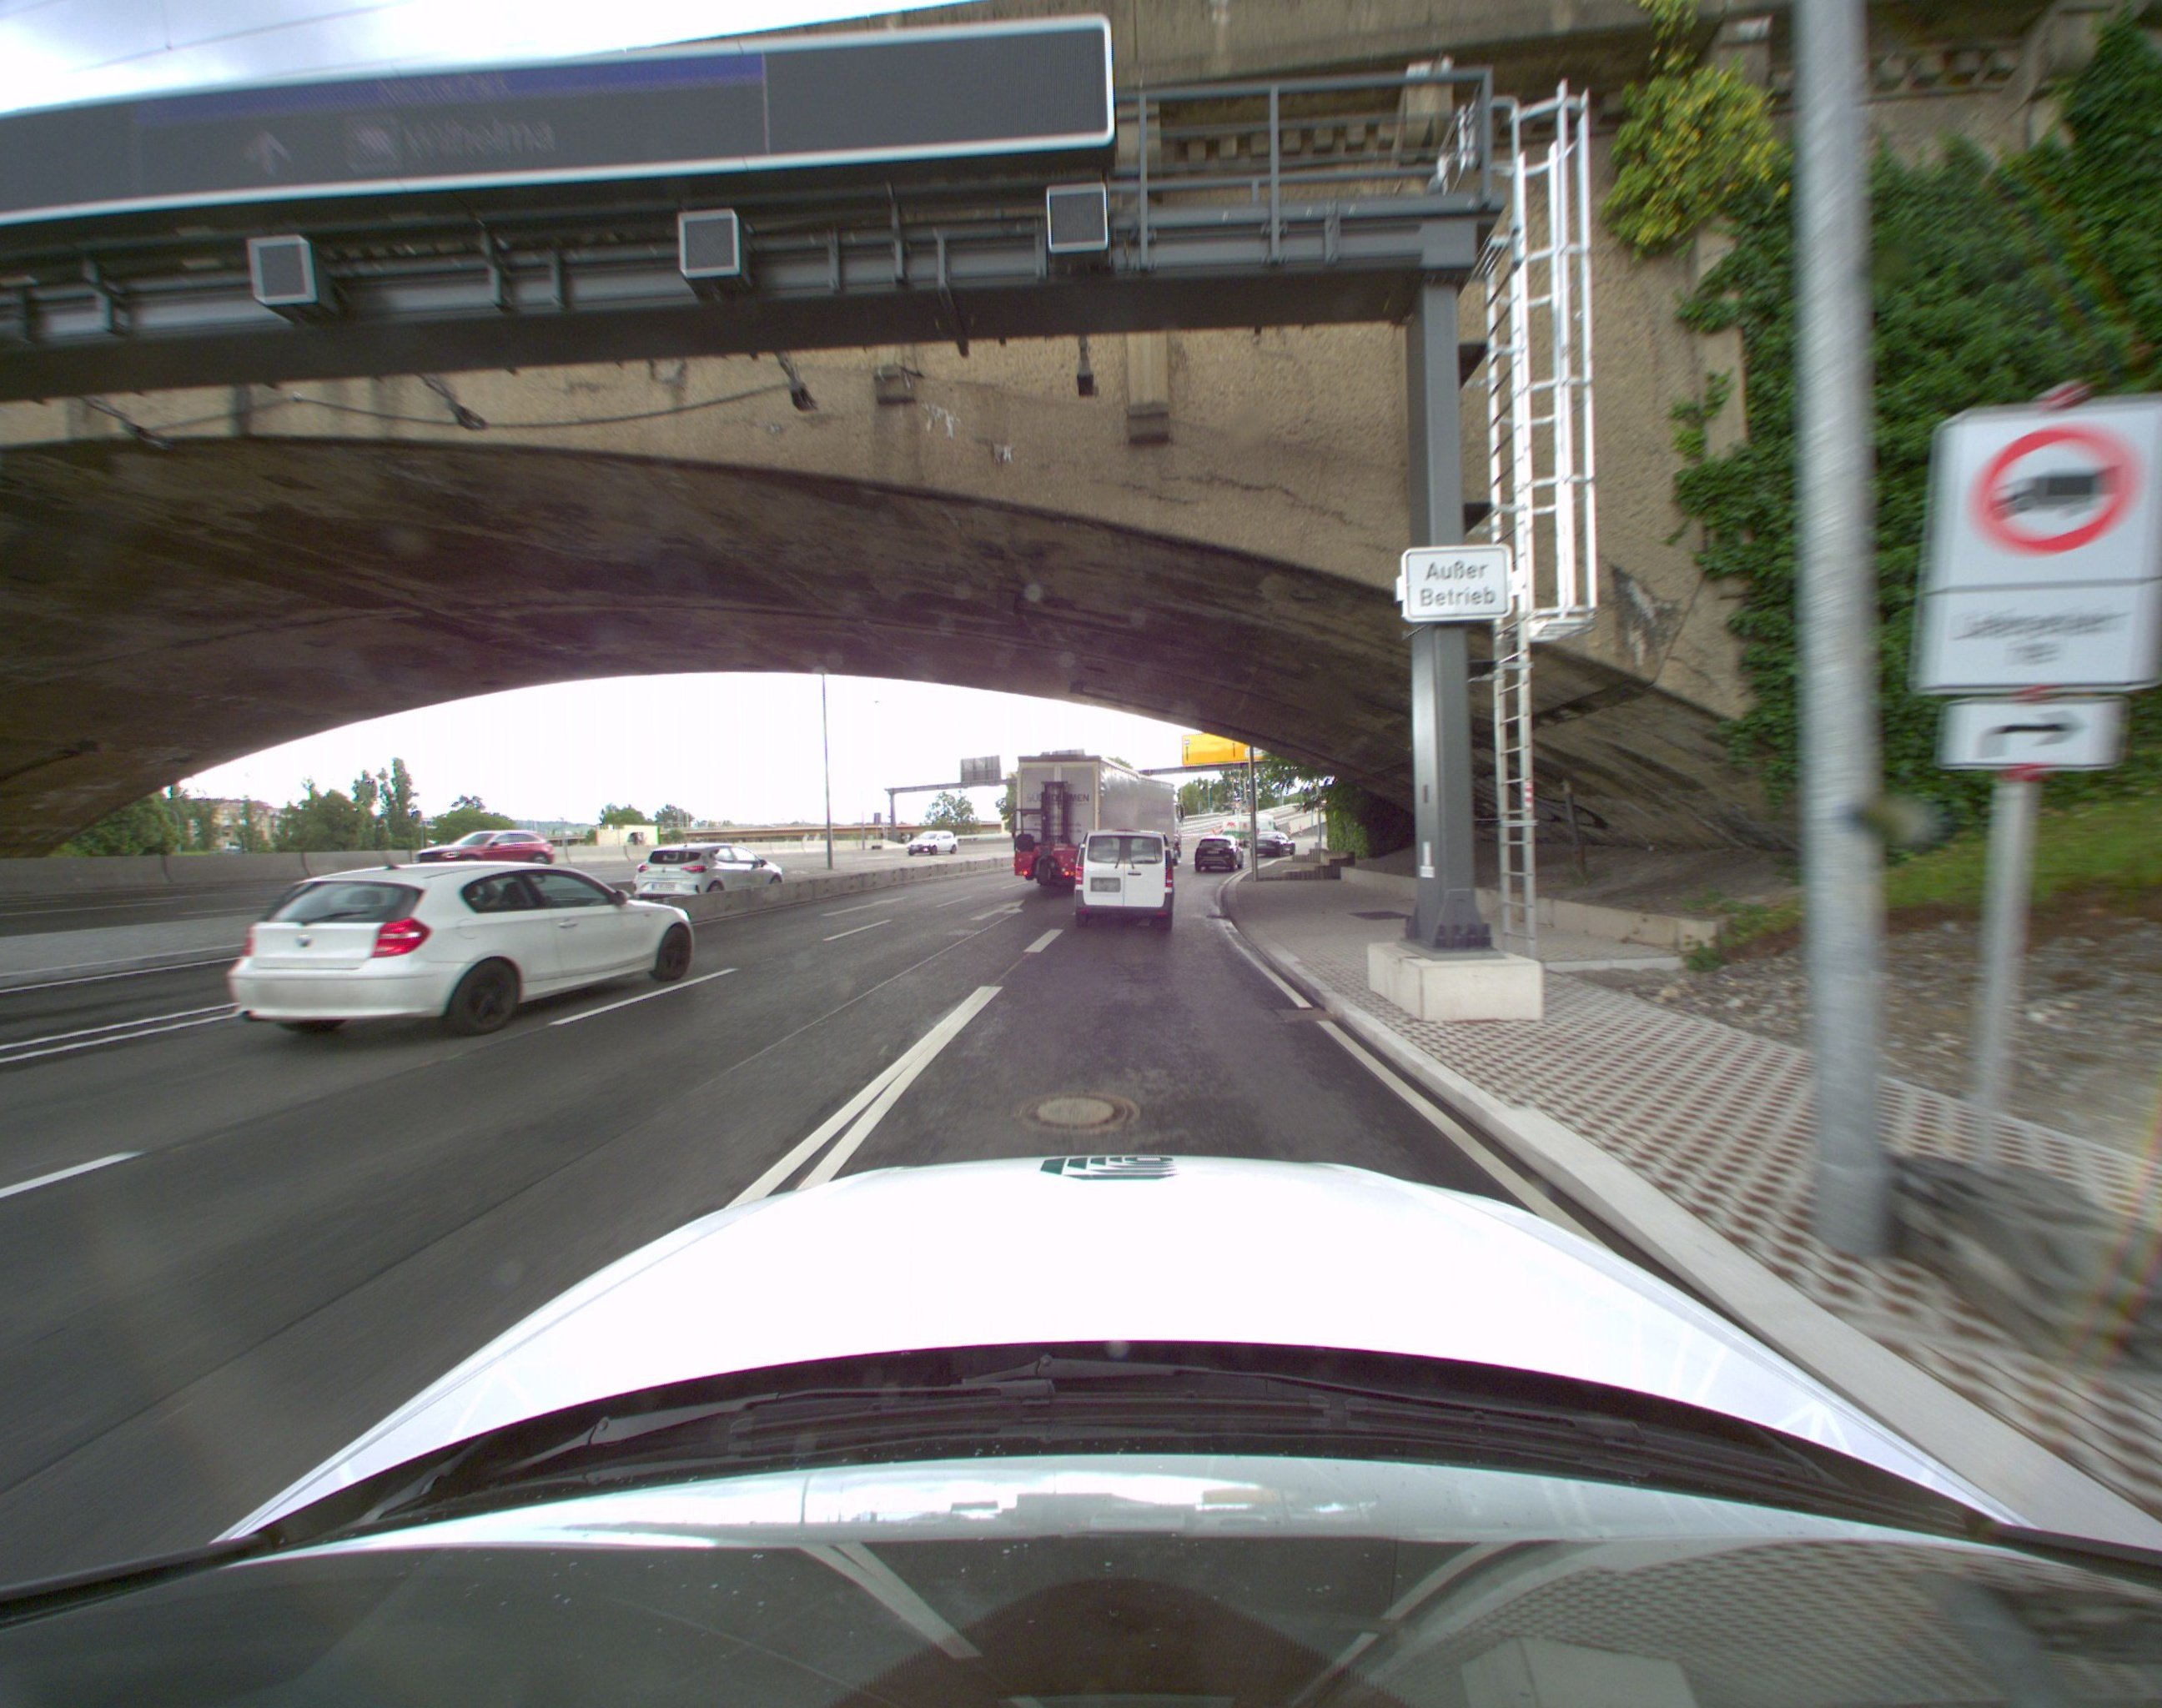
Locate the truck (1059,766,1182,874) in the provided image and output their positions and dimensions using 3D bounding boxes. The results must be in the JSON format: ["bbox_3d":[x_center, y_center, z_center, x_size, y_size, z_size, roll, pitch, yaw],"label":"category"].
[{"bbox_3d":[2.178,-1.398,37.273,2.964,4.175,11.290,0,1,17],"label":"truck"}]

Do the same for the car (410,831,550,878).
[{"bbox_3d":[-22.349,-0.030,30.501,1.686,1.616,4.012,0,2,13],"label":"car"}]

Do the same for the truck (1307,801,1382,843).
[{"bbox_3d":[26.762,-3.126,81.744,3.285,3.809,16.699,0,2,32],"label":"truck"}]

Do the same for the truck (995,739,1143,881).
[{"bbox_3d":[0.005,-1.332,28.393,2.898,4.016,10.236,0,1,12],"label":"truck"}]

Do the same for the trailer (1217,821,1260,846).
[{"bbox_3d":[12.542,-1.624,64.754,1.974,1.957,4.105,1,2,32],"label":"trailer"}]

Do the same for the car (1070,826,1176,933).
[{"bbox_3d":[0.878,0.437,16.976,1.868,1.891,4.757,1,1,3],"label":"car"}]

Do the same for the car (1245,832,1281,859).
[{"bbox_3d":[10.862,-0.498,48.527,1.488,1.469,3.417,-4,-2,22],"label":"car"}]

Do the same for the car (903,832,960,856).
[{"bbox_3d":[-9.532,-0.670,52.326,1.842,1.486,4.562,0,1,15],"label":"car"}]

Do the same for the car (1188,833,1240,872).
[{"bbox_3d":[6.049,-0.101,36.665,1.736,1.625,3.862,-2,1,17],"label":"car"}]

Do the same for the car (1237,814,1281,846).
[{"bbox_3d":[15.026,-2.018,68.695,1.974,2.541,5.207,1,2,32],"label":"car"}]

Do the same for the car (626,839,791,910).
[{"bbox_3d":[-8.541,0.407,19.066,1.567,1.484,4.007,0,0,8],"label":"car"}]

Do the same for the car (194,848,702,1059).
[{"bbox_3d":[-5.639,0.716,8.025,1.630,1.432,3.989,1,2,5],"label":"car"}]
